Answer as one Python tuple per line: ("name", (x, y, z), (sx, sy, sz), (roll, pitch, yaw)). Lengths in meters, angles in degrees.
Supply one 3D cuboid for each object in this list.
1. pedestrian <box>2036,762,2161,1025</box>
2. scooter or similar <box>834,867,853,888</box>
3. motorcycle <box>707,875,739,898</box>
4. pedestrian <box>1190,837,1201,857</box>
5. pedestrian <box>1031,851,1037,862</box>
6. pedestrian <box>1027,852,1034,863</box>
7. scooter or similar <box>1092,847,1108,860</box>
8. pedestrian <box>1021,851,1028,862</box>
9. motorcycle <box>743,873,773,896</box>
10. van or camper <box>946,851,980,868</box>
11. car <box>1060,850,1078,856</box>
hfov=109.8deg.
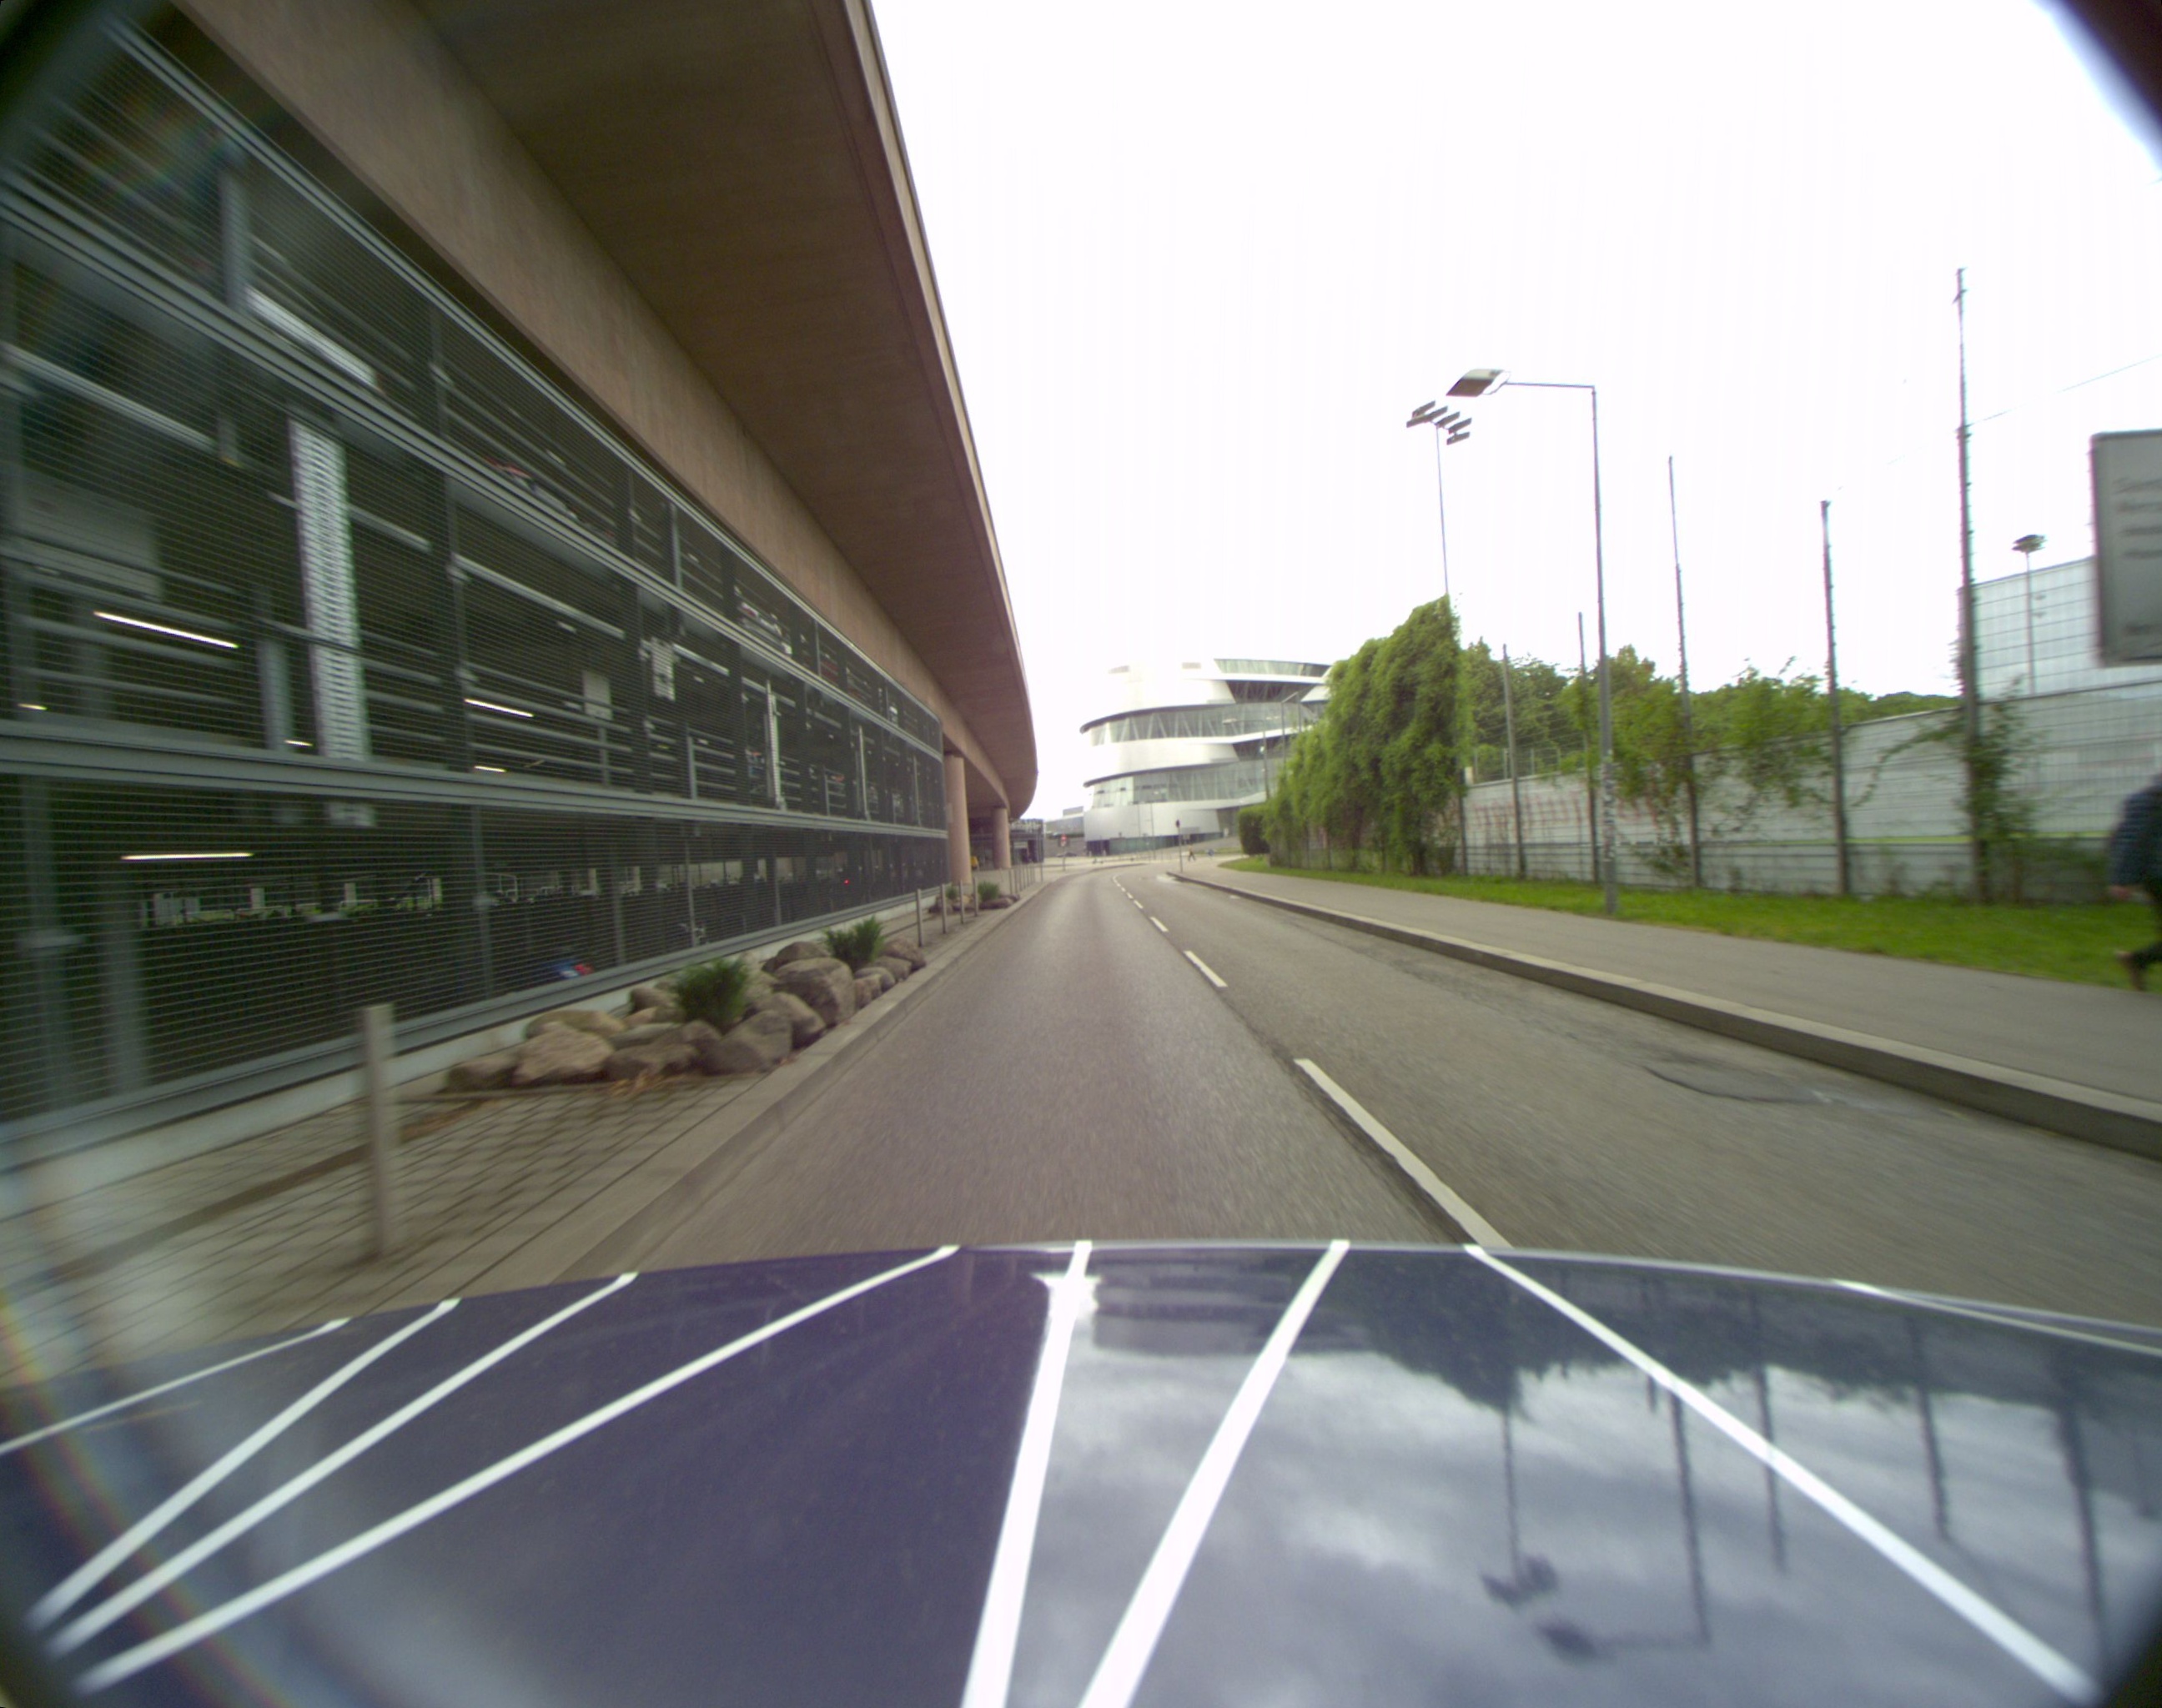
("pedestrian", (7.612, 0.251, 5.263), (0.806, 1.770, 0.919), (-3, 0, -12))
("scooter or similar", (-13.026, 1.278, 41.728), (0.399, 1.127, 1.252), (-3, 0, 12))
("motorcycle", (-19.975, 1.805, 42.422), (0.673, 1.213, 2.079), (-3, -1, 1))
("pedestrian", (12.100, -0.764, 80.269), (1.038, 2.001, 0.785), (-3, 0, 9))
("pedestrian", (-7.517, 0.434, 121.747), (0.773, 1.695, 0.786), (-3, 0, -19))
("pedestrian", (-7.993, 0.513, 120.594), (0.773, 1.695, 0.864), (-3, 0, -14))
("scooter or similar", (2.159, -0.093, 84.814), (1.649, 1.288, 0.518), (-4, -1, -9))
("pedestrian", (-9.058, 0.441, 122.035), (0.783, 1.787, 0.864), (-3, 0, -18))
("motorcycle", (-17.930, 1.683, 42.229), (0.673, 1.213, 2.079), (-3, -1, 1))
("van or camper", (-16.587, 0.736, 107.104), (4.503, 1.988, 2.360), (-3, 2, -5))
("car", (-3.328, -0.266, 208.370), (4.907, 1.390, 1.534), (-3, 0, -9))
